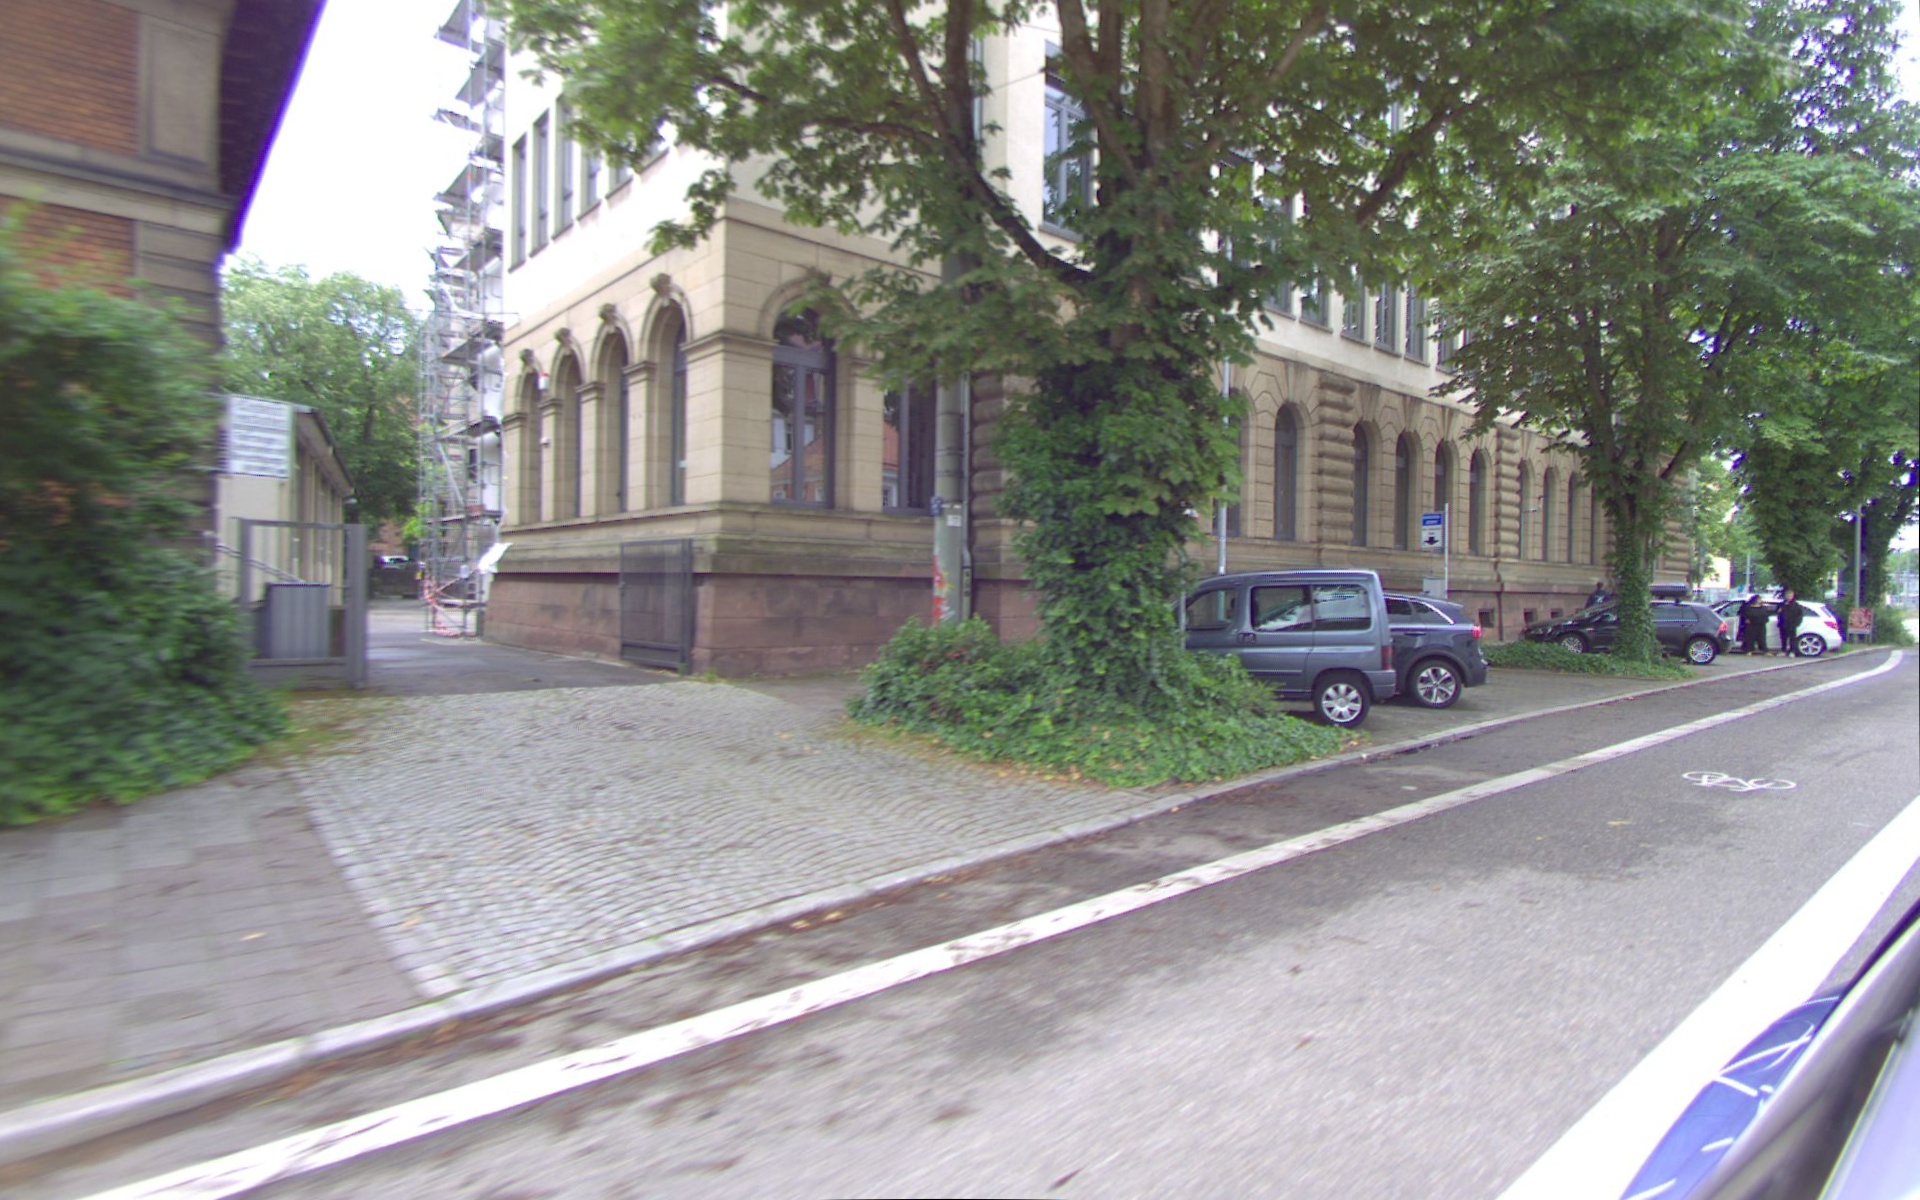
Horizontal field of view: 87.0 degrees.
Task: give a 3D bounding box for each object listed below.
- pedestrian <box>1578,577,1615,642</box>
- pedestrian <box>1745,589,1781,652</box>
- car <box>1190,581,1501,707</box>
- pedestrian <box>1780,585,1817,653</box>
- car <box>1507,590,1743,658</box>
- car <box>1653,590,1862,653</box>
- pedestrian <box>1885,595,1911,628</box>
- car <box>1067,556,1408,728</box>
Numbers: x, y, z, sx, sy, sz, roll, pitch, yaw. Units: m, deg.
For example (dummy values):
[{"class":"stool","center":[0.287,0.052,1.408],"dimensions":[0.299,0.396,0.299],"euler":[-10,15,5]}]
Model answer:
[{"class":"pedestrian","center":[18.802,0.265,29.901],"dimensions":[0.738,1.861,0.680],"euler":[0,2,-41]},{"class":"pedestrian","center":[21.365,0.533,26.936],"dimensions":[0.637,1.646,0.586],"euler":[1,0,26]},{"class":"car","center":[5.411,0.563,14.709],"dimensions":[3.943,1.558,1.856],"euler":[2,1,15]},{"class":"pedestrian","center":[22.121,0.489,26.718],"dimensions":[0.608,1.773,0.680],"euler":[1,0,27]},{"class":"car","center":[15.491,0.512,23.848],"dimensions":[4.272,1.420,1.745],"euler":[1,1,17]},{"class":"car","center":[22.070,0.557,28.249],"dimensions":[4.285,1.571,1.733],"euler":[1,0,28]},{"class":"pedestrian","center":[50.537,0.611,54.546],"dimensions":[0.912,1.730,1.143],"euler":[1,0,38]},{"class":"car","center":[3.404,0.426,12.620],"dimensions":[3.791,1.843,1.796],"euler":[2,1,19]}]
